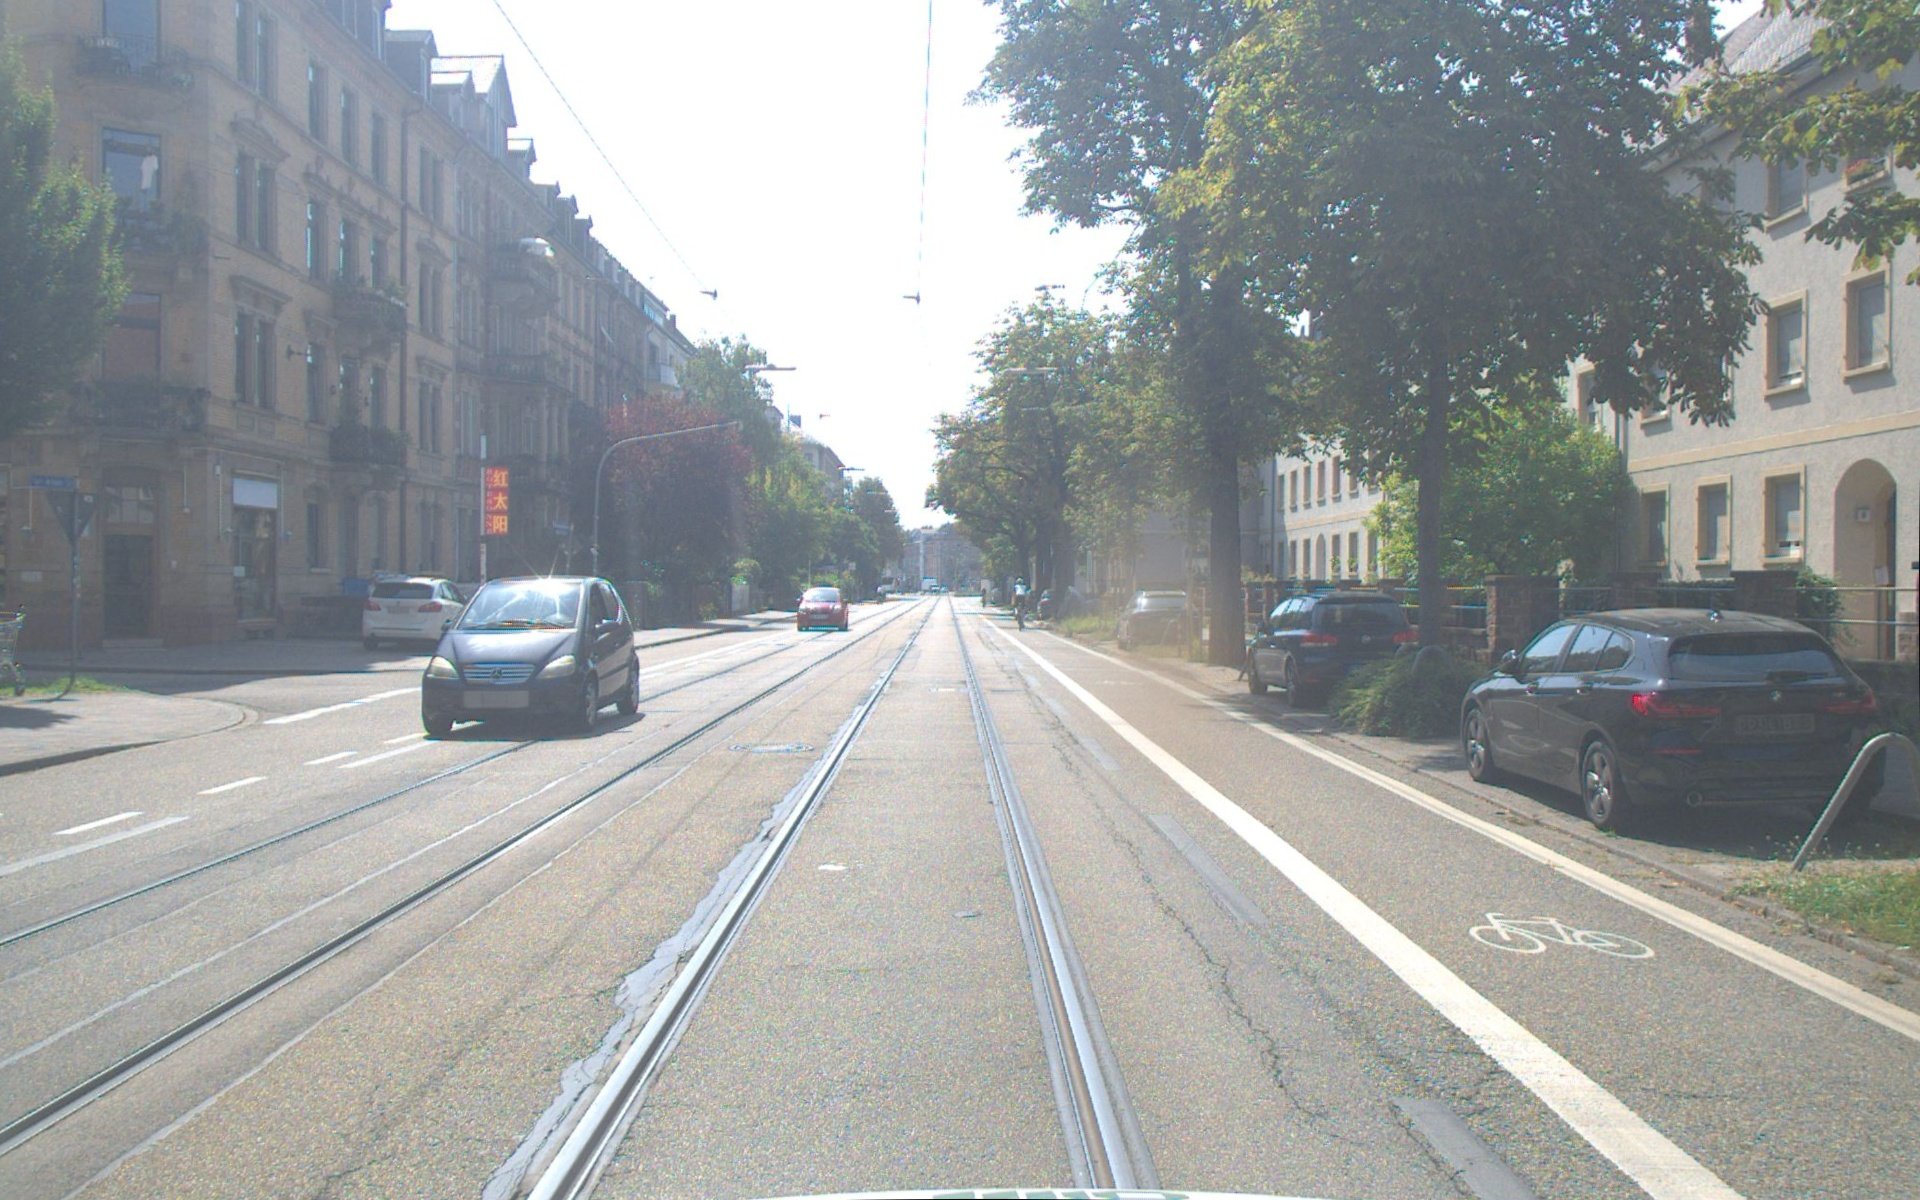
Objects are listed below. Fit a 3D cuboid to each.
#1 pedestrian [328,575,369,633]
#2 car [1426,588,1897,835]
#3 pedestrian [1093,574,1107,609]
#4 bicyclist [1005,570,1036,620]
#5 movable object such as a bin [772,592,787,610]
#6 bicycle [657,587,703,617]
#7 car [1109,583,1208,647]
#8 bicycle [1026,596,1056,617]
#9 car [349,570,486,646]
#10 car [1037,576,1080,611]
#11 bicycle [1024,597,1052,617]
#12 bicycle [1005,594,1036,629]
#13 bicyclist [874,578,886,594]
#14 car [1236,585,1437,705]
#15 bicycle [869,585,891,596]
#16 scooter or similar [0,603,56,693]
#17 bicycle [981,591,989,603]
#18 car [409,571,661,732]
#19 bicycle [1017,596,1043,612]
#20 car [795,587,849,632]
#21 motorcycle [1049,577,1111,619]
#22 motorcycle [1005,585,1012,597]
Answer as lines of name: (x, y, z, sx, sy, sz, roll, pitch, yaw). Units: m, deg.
pedestrian: (-16.269, 0.104, 44.048, 0.851, 1.537, 0.884, 0, 0, -9)
car: (5.180, 0.718, 12.963, 1.720, 1.503, 4.457, -3, 0, 0)
pedestrian: (7.669, -0.449, 90.460, 0.692, 1.925, 0.714, 0, 0, 1)
bicyclist: (2.286, -0.170, 62.582, 1.102, 1.869, 0.956, 0, 0, 0)
movable object such as a bin: (-11.123, 0.070, 101.839, 0.770, 1.094, 0.803, 2, 0, 2)
bicycle: (-11.719, 0.099, 69.224, 1.775, 1.202, 0.717, 2, 0, 1)
car: (4.904, 0.323, 41.472, 1.854, 1.503, 4.839, 0, 0, -1)
bicycle: (4.598, 0.385, 93.749, 1.686, 1.169, 0.377, 1, 0, 6)
car: (-12.242, 0.161, 37.607, 1.954, 1.622, 4.356, 0, 0, -4)
car: (4.743, -0.346, 80.041, 1.803, 1.558, 4.115, 0, 2, -1)
bicycle: (4.390, 0.392, 93.372, 1.571, 1.123, 0.399, 1, 0, 6)
bicycle: (2.296, 0.429, 62.807, 1.124, 1.291, 2.712, 0, 0, 1)
bicyclist: (-7.185, -1.272, 148.793, 0.746, 1.416, 0.776, 0, 0, 36)
car: (5.125, 0.546, 23.096, 1.720, 1.503, 4.385, 0, 1, -1)
bicycle: (-7.178, -0.860, 148.804, 0.746, 1.008, 2.290, 0, 0, 35)
scooter or similar: (-12.444, 0.617, 21.378, 0.583, 1.118, 1.390, 1, 1, 10)
bicycle: (1.993, -0.229, 131.141, 0.575, 0.955, 2.172, 0, 0, 2)
car: (-4.512, 0.472, 18.164, 1.790, 1.567, 3.999, 0, 1, -1)
bicycle: (4.543, 0.245, 107.775, 1.677, 1.050, 0.566, 0, 0, 0)
car: (-4.928, 0.325, 59.472, 1.697, 1.516, 3.999, 0, 1, -1)
motorcycle: (4.671, -0.052, 64.443, 2.303, 1.567, 0.963, -2, -2, 41)
motorcycle: (4.417, -0.836, 149.670, 0.537, 1.086, 2.330, 0, 0, 0)
